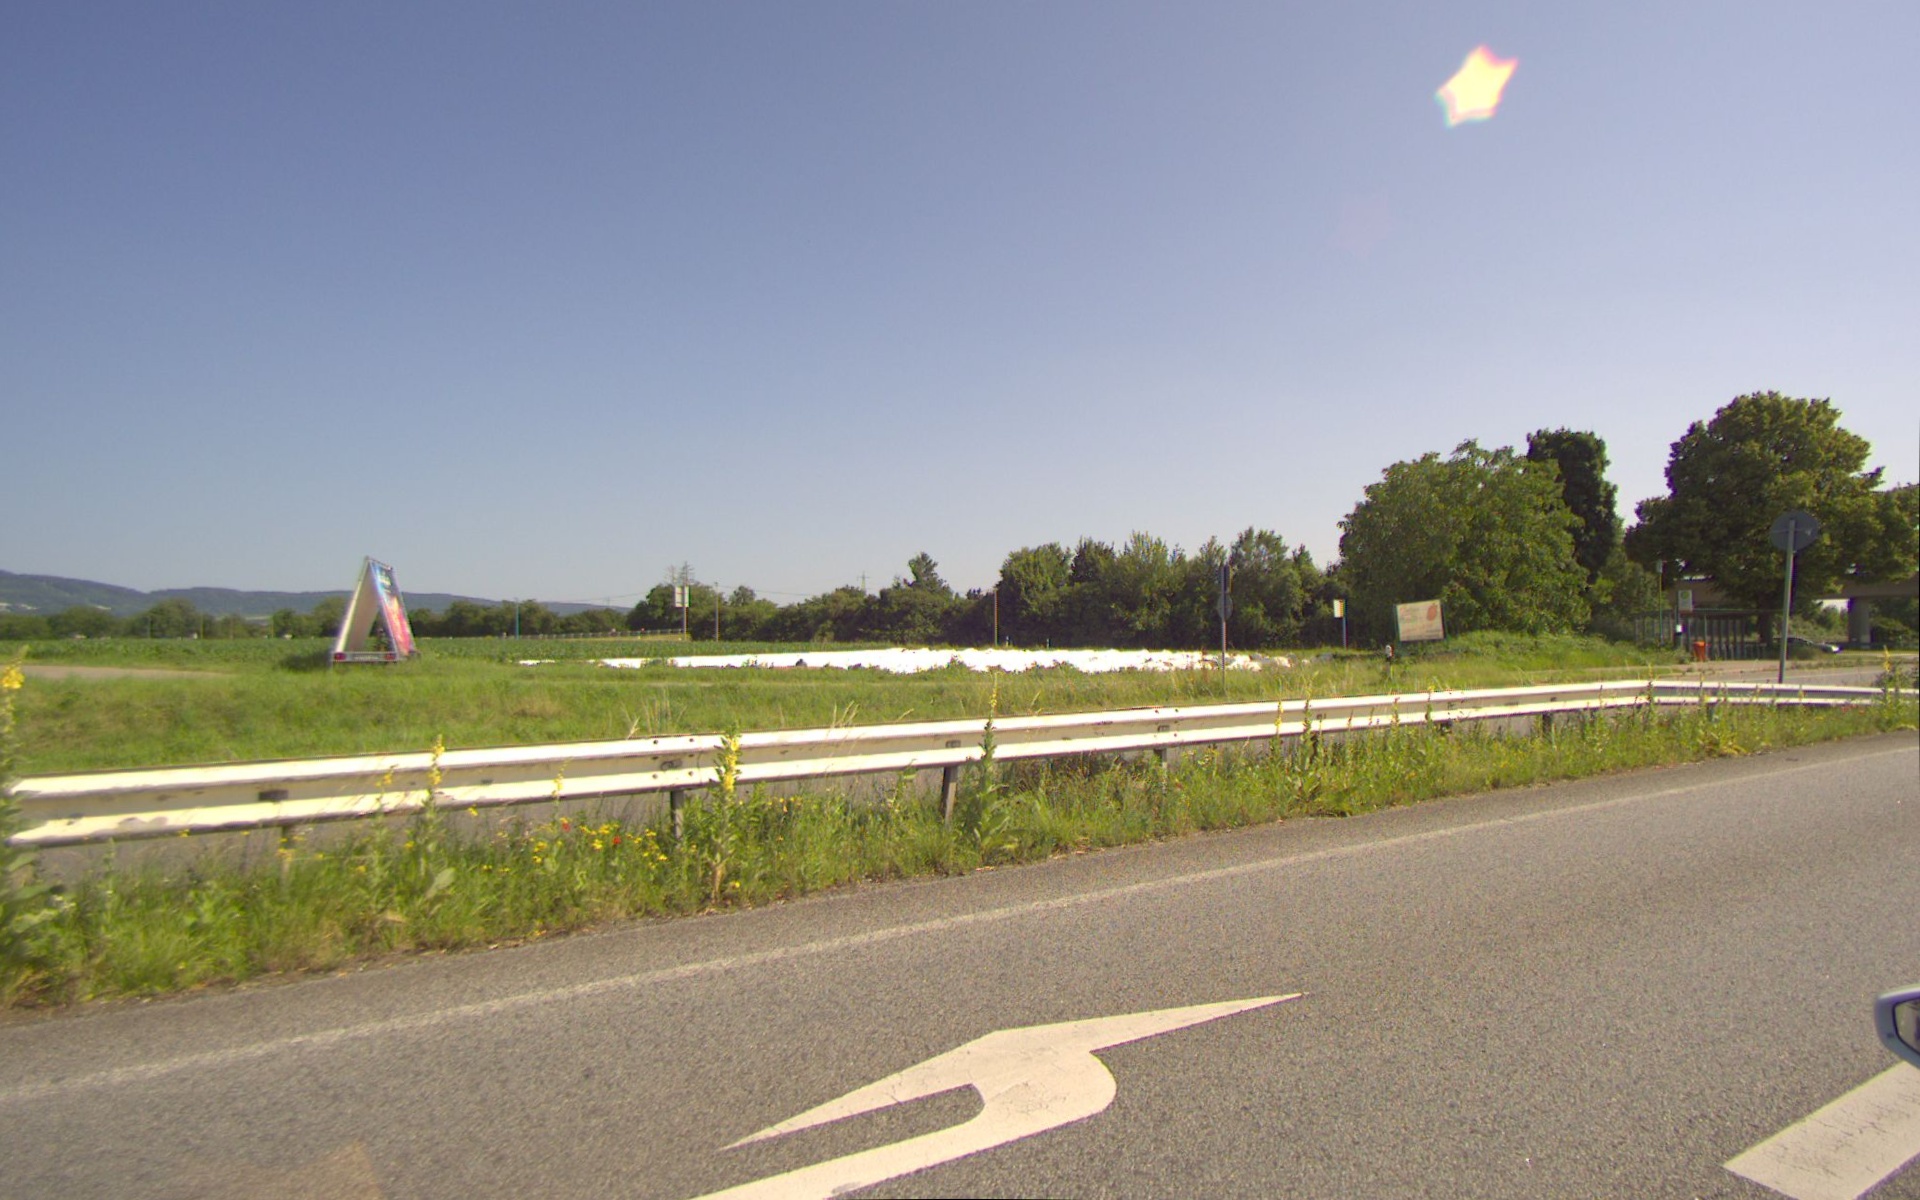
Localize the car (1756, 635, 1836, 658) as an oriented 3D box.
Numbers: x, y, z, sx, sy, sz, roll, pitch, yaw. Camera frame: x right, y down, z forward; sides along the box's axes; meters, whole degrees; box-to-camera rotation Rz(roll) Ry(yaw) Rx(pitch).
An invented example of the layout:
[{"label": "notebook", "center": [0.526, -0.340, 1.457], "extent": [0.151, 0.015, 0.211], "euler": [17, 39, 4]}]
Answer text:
[{"label": "car", "center": [55.790, 3.116, 67.121], "extent": [4.065, 1.443, 1.863], "euler": [-3, -3, 40]}]
